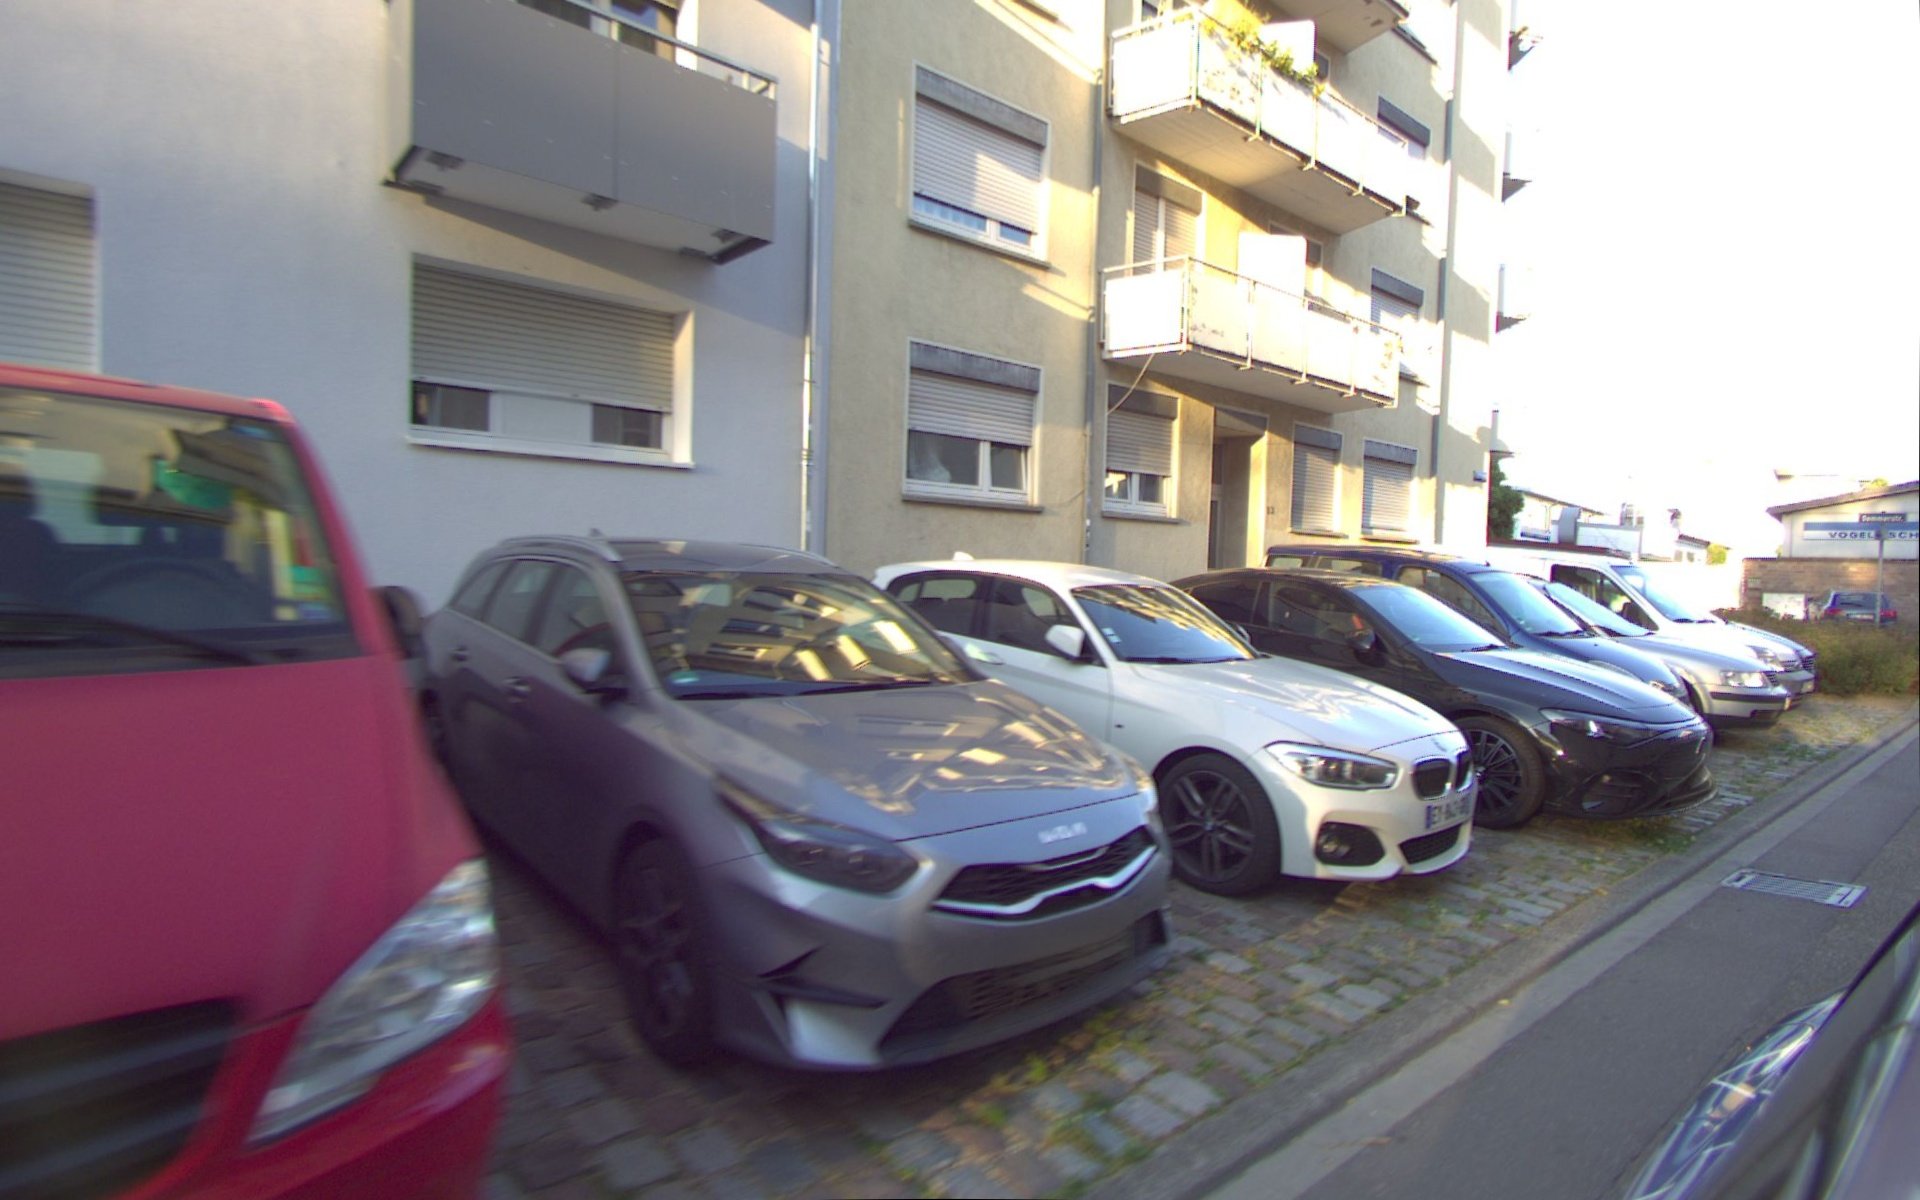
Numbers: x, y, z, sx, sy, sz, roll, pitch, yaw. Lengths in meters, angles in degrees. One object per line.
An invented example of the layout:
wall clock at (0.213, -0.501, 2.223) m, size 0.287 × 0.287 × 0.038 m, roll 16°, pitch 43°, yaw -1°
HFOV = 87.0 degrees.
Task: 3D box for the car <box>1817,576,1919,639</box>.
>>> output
car at (27.451, 0.161, 30.646) m, size 1.821 × 1.549 × 4.670 m, roll 3°, pitch 4°, yaw 35°

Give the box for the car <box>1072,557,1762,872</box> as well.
car at (2.970, 0.515, 7.464) m, size 1.626 × 1.467 × 4.320 m, roll -1°, pitch 5°, yaw -40°

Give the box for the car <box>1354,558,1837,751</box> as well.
car at (6.467, 0.392, 10.687) m, size 1.676 × 1.540 × 3.965 m, roll -1°, pitch 4°, yaw -40°

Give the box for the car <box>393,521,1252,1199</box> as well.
car at (-1.045, 0.471, 4.301) m, size 1.608 × 1.488 × 4.155 m, roll -1°, pitch 5°, yaw -40°

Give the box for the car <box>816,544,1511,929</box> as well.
car at (0.900, 0.461, 6.087) m, size 1.608 × 1.433 × 3.883 m, roll -1°, pitch 5°, yaw -42°

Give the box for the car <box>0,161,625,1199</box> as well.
car at (-2.859, 0.292, 2.809) m, size 2.023 × 1.932 × 4.734 m, roll -1°, pitch 5°, yaw -41°

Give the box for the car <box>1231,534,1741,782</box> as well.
car at (4.627, 0.319, 9.376) m, size 1.626 × 1.715 × 3.801 m, roll -1°, pitch 5°, yaw -40°

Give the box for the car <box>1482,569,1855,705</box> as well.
car at (9.595, 0.383, 13.955) m, size 1.711 × 1.510 × 3.882 m, roll -1°, pitch 3°, yaw -40°

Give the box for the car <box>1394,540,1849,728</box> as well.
car at (7.789, 0.225, 12.312) m, size 1.711 × 1.883 × 4.290 m, roll -1°, pitch 3°, yaw -40°
